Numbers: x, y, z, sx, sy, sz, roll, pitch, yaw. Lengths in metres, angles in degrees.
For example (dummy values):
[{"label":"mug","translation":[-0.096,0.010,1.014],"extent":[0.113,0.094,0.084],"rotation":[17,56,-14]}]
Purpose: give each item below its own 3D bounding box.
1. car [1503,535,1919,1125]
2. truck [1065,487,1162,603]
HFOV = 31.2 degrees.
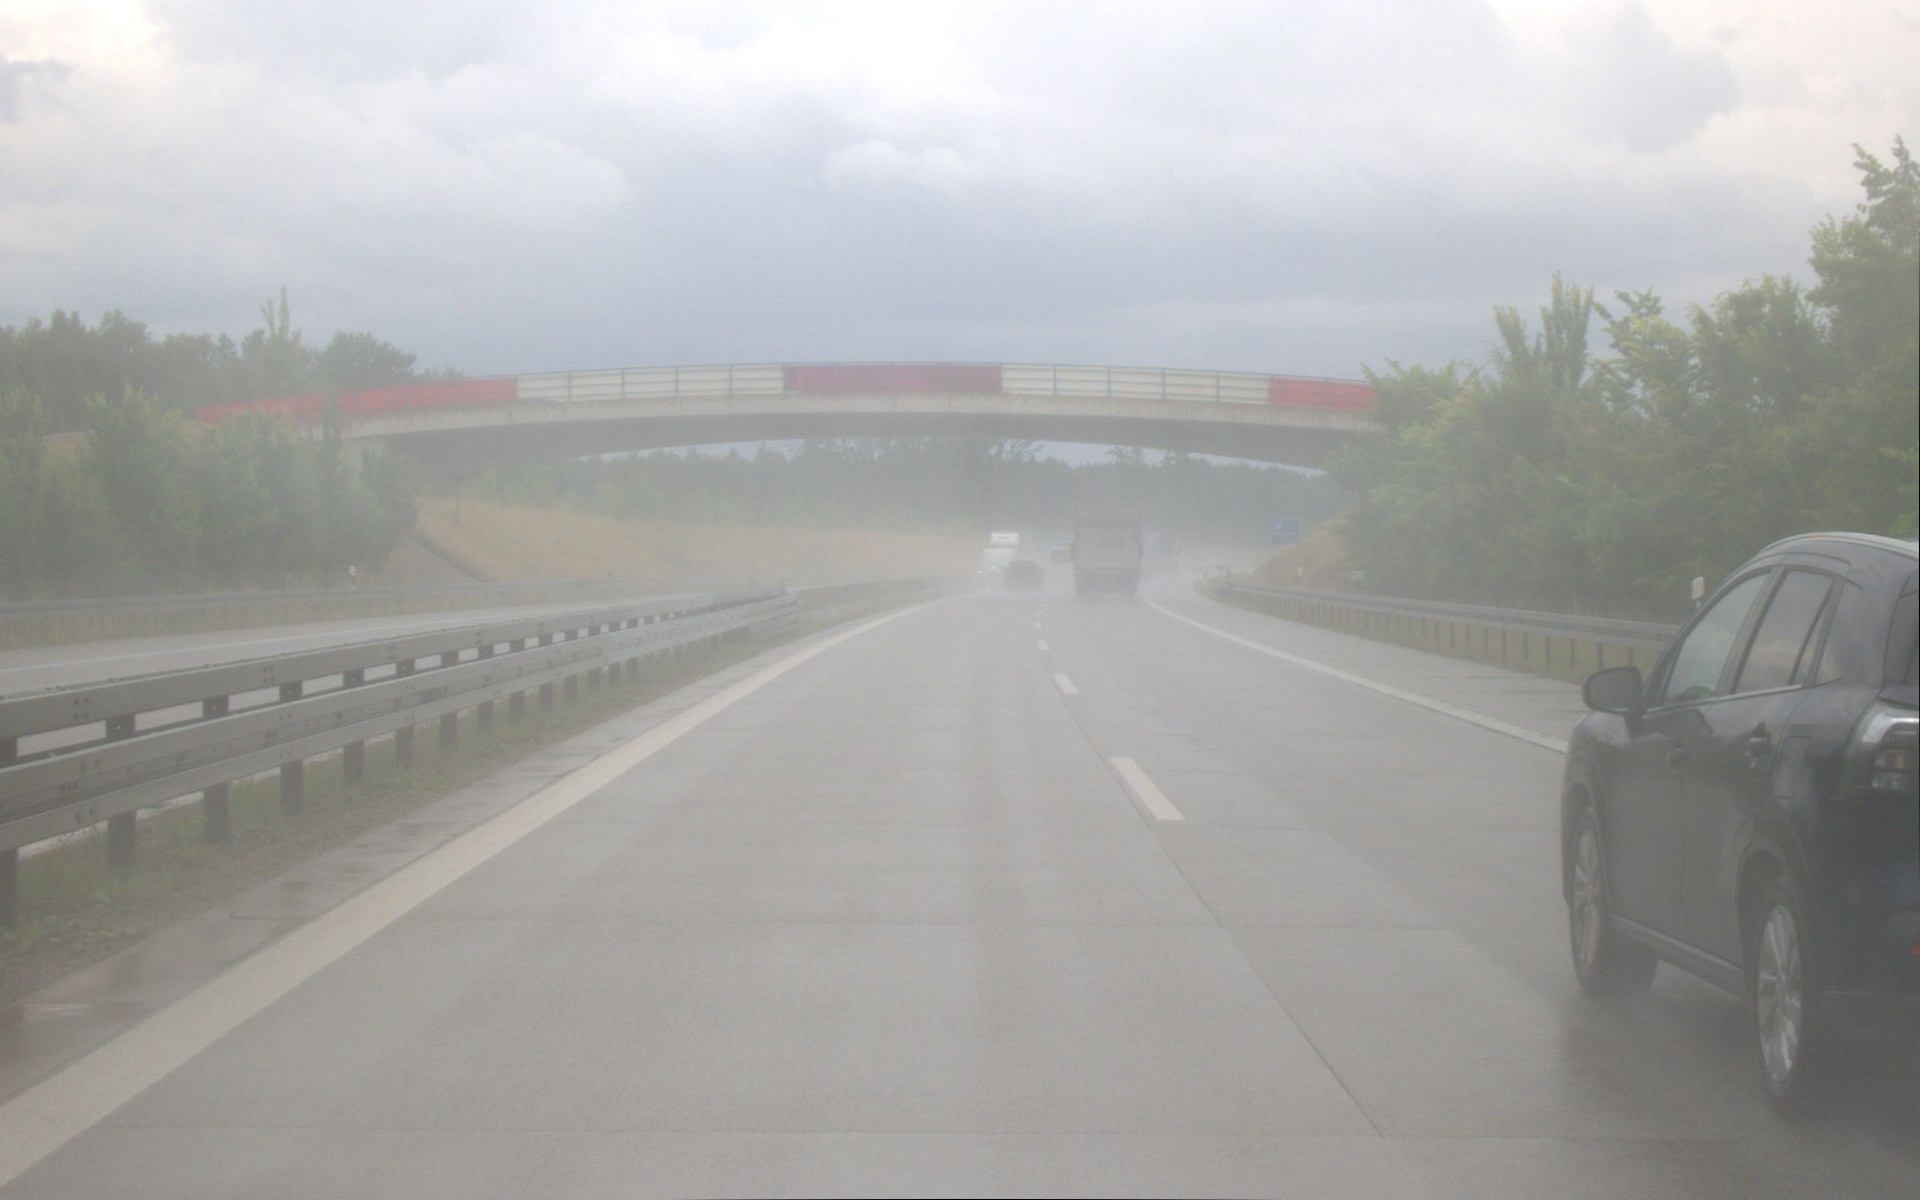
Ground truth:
[{"label":"car","translation":[2.951,0.598,11.001],"extent":[1.894,1.570,3.632],"rotation":[1,1,1]},{"label":"truck","translation":[6.058,-2.187,134.661],"extent":[3.244,4.422,8.244],"rotation":[0,1,6]}]
